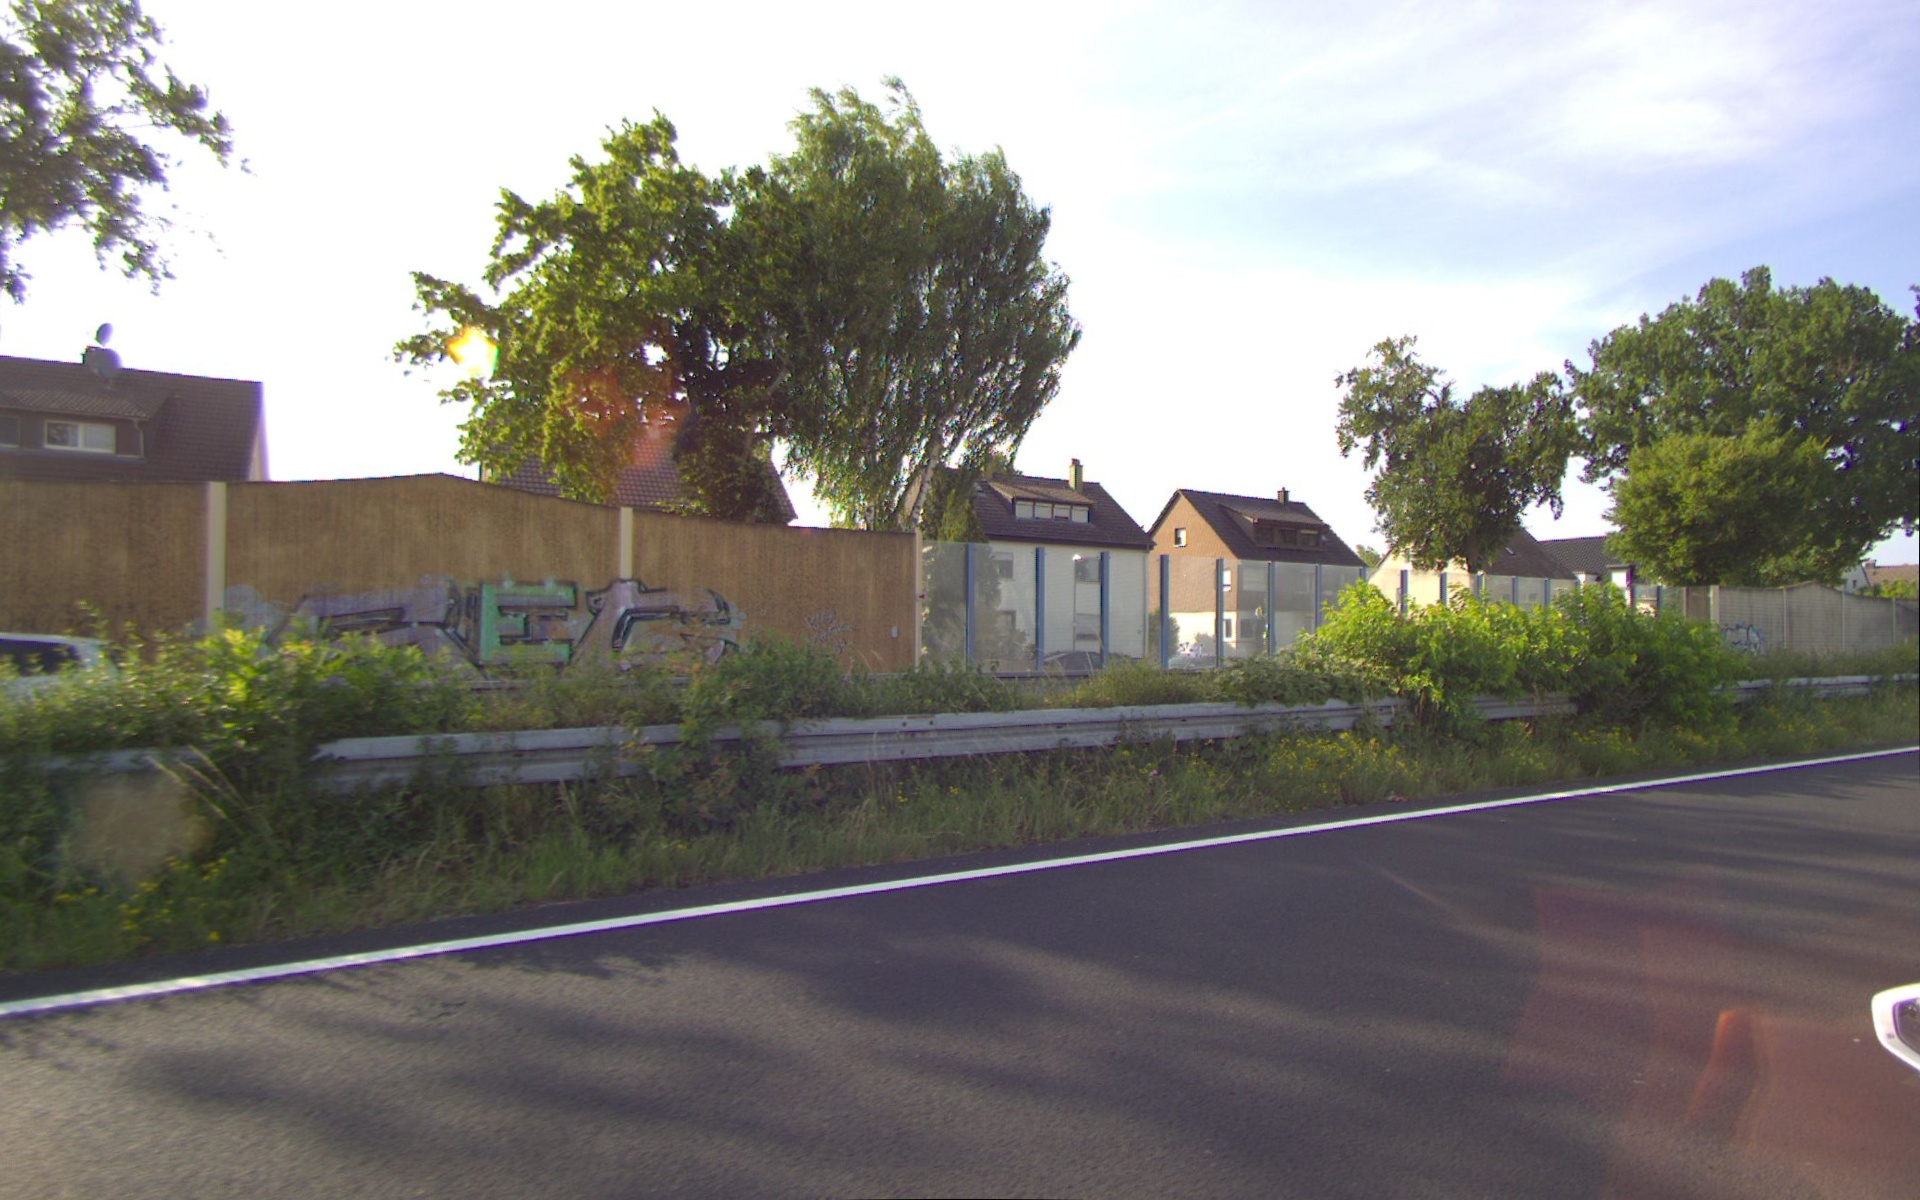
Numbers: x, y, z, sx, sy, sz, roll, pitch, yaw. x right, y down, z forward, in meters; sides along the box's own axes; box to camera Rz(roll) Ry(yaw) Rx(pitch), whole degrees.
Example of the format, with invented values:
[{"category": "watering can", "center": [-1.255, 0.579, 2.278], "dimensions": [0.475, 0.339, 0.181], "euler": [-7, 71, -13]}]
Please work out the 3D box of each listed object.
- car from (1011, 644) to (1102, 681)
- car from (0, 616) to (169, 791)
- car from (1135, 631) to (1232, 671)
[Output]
[{"category": "car", "center": [3.442, 2.226, 35.777], "dimensions": [2.865, 1.192, 1.564], "euler": [2, 0, -31]}, {"category": "car", "center": [-10.484, 1.027, 10.416], "dimensions": [3.296, 1.684, 1.798], "euler": [2, 0, -30]}, {"category": "car", "center": [8.759, 1.988, 39.319], "dimensions": [3.604, 1.456, 1.511], "euler": [2, 0, -30]}]
